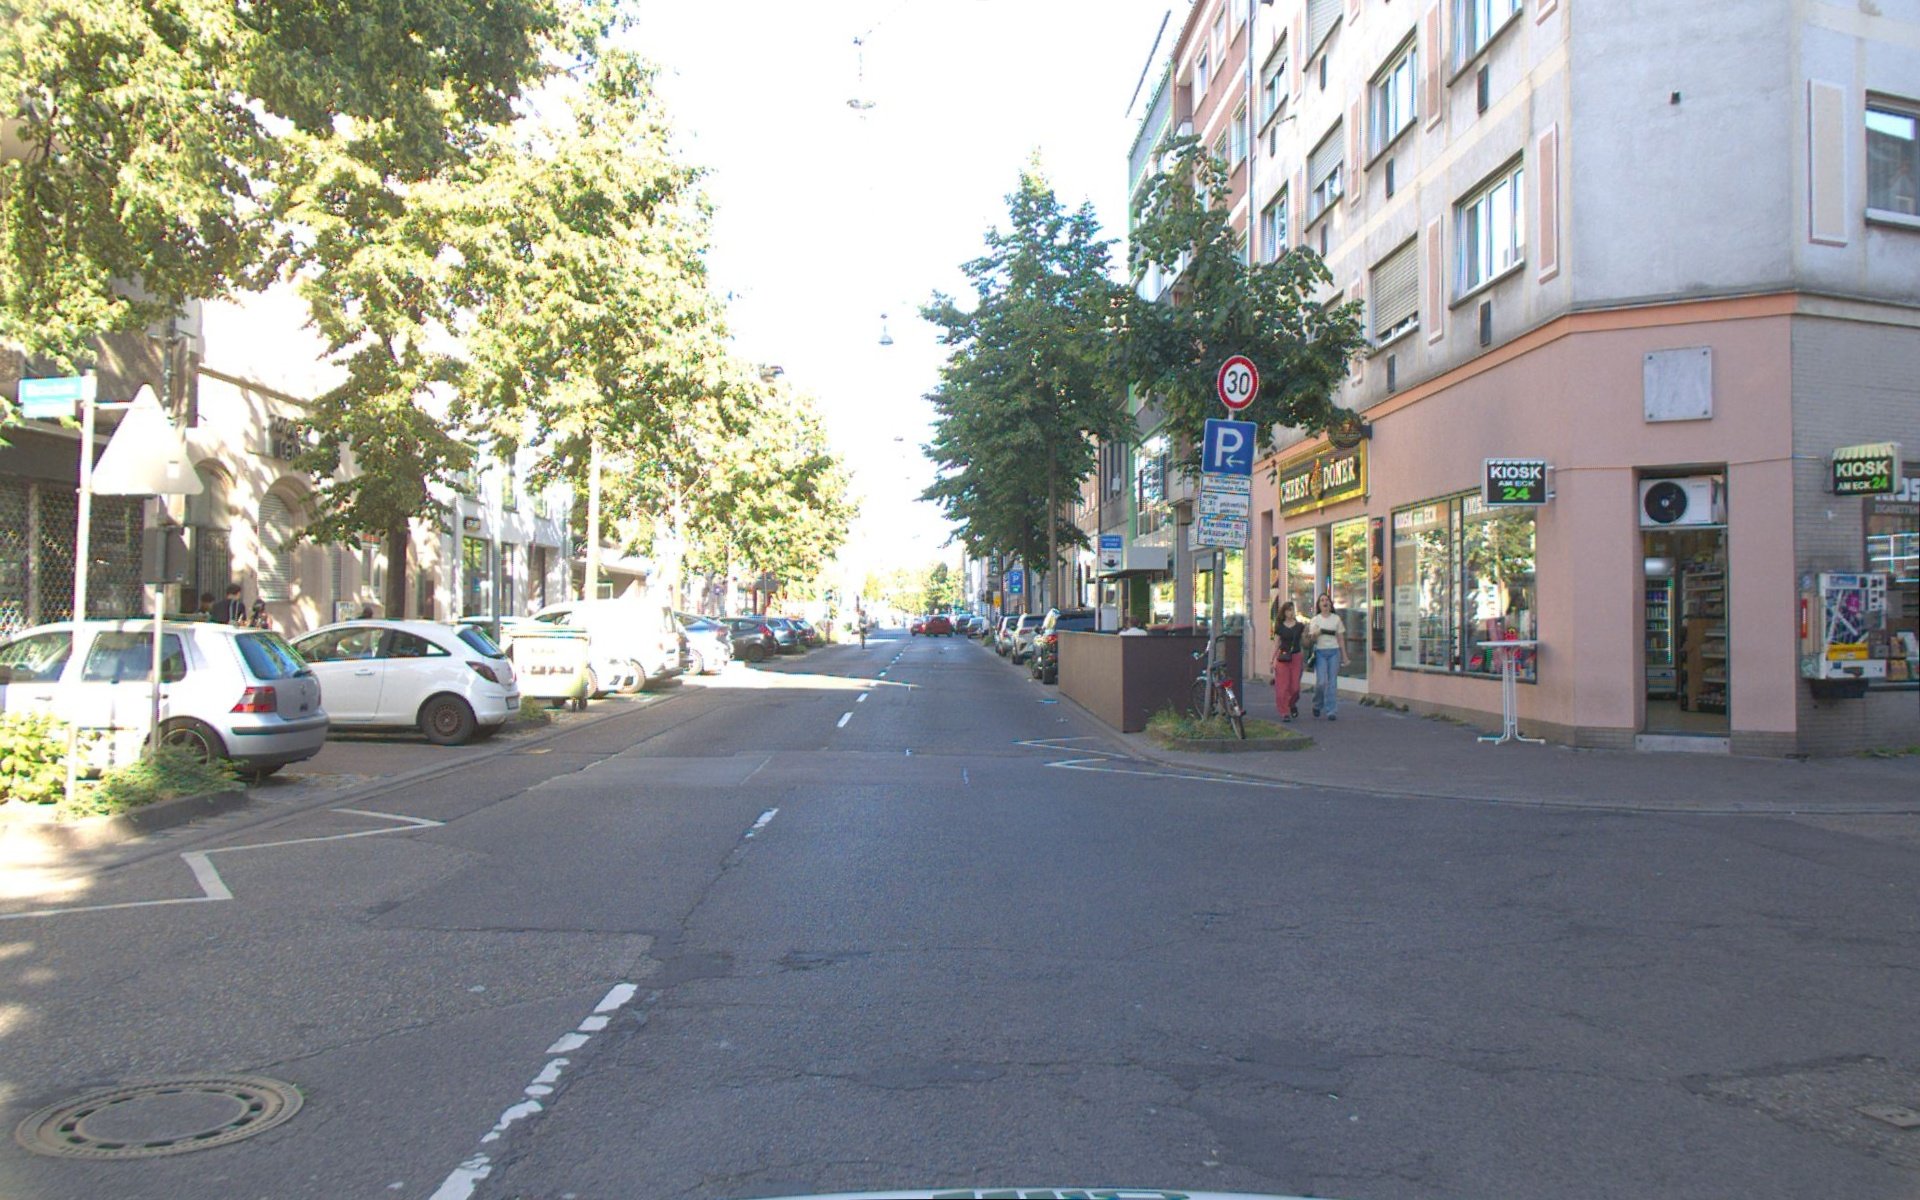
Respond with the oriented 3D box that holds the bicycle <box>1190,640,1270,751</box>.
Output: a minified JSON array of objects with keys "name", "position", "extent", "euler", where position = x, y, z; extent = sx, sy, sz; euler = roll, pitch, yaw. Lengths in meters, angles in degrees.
[{"name":"bicycle","position":[3.127,1.082,19.305],"extent":[0.497,1.184,2.144],"euler":[-1,-1,-2]}]

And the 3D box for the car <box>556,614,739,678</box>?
[{"name":"car","position":[-7.878,1.155,42.034],"extent":[4.277,1.598,1.946],"euler":[0,-1,-1]}]

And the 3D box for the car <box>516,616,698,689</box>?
[{"name":"car","position":[-7.945,1.174,37.482],"extent":[3.722,1.585,1.791],"euler":[0,-1,-1]}]

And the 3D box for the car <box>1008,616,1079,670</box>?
[{"name":"car","position":[2.557,1.322,51.817],"extent":[1.845,1.553,4.232],"euler":[-2,-1,-2]}]

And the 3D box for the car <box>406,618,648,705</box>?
[{"name":"car","position":[-7.851,1.108,30.278],"extent":[3.898,1.490,1.886],"euler":[1,-1,-1]}]

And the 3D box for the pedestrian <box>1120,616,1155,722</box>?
[{"name":"pedestrian","position":[2.643,1.024,24.620],"extent":[0.463,1.556,0.462],"euler":[0,-1,0]}]

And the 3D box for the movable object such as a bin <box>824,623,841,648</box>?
[{"name":"movable object such as a bin","position":[-7.733,2.169,100.373],"extent":[1.021,1.497,1.142],"euler":[-1,-1,-2]}]

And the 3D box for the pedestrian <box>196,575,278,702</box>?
[{"name":"pedestrian","position":[-10.678,0.573,24.450],"extent":[0.759,1.797,0.762],"euler":[4,-1,-3]}]

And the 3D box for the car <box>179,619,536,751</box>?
[{"name":"car","position":[-7.207,1.004,20.091],"extent":[3.703,1.490,1.709],"euler":[1,-1,-4]}]

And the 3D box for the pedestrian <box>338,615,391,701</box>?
[{"name":"pedestrian","position":[-10.799,1.042,29.989],"extent":[0.580,1.520,0.842],"euler":[2,-1,0]}]

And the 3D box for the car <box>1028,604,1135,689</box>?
[{"name":"car","position":[2.745,1.046,38.312],"extent":[1.953,1.719,4.515],"euler":[-3,-1,-2]}]

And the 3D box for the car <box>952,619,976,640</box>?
[{"name":"car","position":[0.352,2.471,139.414],"extent":[1.933,1.756,4.823],"euler":[1,-1,-1]}]

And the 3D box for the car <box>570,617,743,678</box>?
[{"name":"car","position":[-8.098,1.257,44.458],"extent":[4.277,1.598,1.980],"euler":[0,-1,-1]}]

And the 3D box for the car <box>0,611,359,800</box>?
[{"name":"car","position":[-7.558,0.880,14.450],"extent":[3.917,1.490,1.748],"euler":[2,-3,-1]}]

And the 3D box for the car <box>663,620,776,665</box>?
[{"name":"car","position":[-8.091,1.429,55.718],"extent":[3.709,1.484,1.777],"euler":[0,-1,-9]}]

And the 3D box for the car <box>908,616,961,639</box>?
[{"name":"car","position":[-1.906,2.060,124.921],"extent":[3.718,1.562,1.643],"euler":[-1,-1,-36]}]

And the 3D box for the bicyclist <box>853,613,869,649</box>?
[{"name":"bicyclist","position":[-4.738,1.480,79.338],"extent":[0.710,1.730,1.282],"euler":[0,-1,-1]}]

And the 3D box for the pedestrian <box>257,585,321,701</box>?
[{"name":"pedestrian","position":[-9.925,0.634,24.487],"extent":[0.554,1.655,0.726],"euler":[4,-1,-3]}]

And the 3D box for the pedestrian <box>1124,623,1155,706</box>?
[{"name":"pedestrian","position":[3.039,1.087,28.044],"extent":[0.463,1.386,0.594],"euler":[0,-1,0]}]

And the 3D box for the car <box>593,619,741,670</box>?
[{"name":"car","position":[-8.647,1.310,49.117],"extent":[4.162,1.484,1.978],"euler":[0,-1,-5]}]

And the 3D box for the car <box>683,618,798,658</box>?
[{"name":"car","position":[-8.812,1.542,66.716],"extent":[4.403,1.484,1.789],"euler":[1,-1,-3]}]

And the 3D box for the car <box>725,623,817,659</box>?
[{"name":"car","position":[-8.363,1.801,73.289],"extent":[3.838,1.511,1.770],"euler":[0,-1,0]}]

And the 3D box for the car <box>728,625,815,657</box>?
[{"name":"car","position":[-8.610,1.872,75.853],"extent":[3.762,1.454,1.789],"euler":[0,-1,0]}]

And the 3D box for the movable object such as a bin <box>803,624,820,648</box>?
[{"name":"movable object such as a bin","position":[-8.997,2.183,100.425],"extent":[0.944,1.497,1.142],"euler":[0,-1,-2]}]

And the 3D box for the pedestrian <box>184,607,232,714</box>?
[{"name":"pedestrian","position":[-12.071,0.963,26.555],"extent":[0.424,1.701,0.639],"euler":[0,-1,2]}]

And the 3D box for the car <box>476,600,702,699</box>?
[{"name":"car","position":[-7.345,0.975,33.082],"extent":[4.022,1.868,2.038],"euler":[1,-1,-1]}]

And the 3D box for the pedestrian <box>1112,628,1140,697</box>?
[{"name":"pedestrian","position":[3.320,1.246,33.016],"extent":[0.463,1.354,0.483],"euler":[0,-1,18]}]

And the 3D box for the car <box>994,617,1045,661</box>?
[{"name":"car","position":[2.279,1.490,64.205],"extent":[1.581,1.555,4.233],"euler":[-3,-1,-2]}]

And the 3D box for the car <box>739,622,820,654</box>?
[{"name":"car","position":[-8.539,1.785,78.387],"extent":[3.672,1.494,1.739],"euler":[0,-1,-2]}]

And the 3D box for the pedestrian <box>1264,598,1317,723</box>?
[{"name":"pedestrian","position":[4.547,0.818,22.791],"extent":[0.503,1.674,0.748],"euler":[-2,-1,-2]}]

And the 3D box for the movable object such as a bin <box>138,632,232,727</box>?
[{"name":"movable object such as a bin","position":[-11.921,1.201,25.478],"extent":[0.804,1.422,1.227],"euler":[0,-1,2]}]

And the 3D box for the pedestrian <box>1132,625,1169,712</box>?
[{"name":"pedestrian","position":[3.117,1.108,27.087],"extent":[0.541,1.403,0.594],"euler":[0,-1,0]}]

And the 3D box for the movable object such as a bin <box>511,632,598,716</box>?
[{"name":"movable object such as a bin","position":[-6.523,1.184,26.672],"extent":[1.212,1.325,0.869],"euler":[0,-1,-2]}]

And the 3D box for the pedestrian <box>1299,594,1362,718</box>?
[{"name":"pedestrian","position":[5.125,0.767,22.893],"extent":[0.628,1.674,0.748],"euler":[-2,-1,-2]}]

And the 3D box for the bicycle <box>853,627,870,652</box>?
[{"name":"bicycle","position":[-4.742,1.907,79.587],"extent":[0.710,1.189,2.196],"euler":[0,-1,-1]}]

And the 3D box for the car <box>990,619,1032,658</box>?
[{"name":"car","position":[2.141,1.631,70.079],"extent":[1.581,1.555,3.059],"euler":[-2,-1,-2]}]

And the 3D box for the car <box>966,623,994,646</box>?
[{"name":"car","position":[1.436,2.499,120.052],"extent":[1.879,1.504,4.963],"euler":[-4,-1,-1]}]

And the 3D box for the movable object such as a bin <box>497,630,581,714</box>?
[{"name":"movable object such as a bin","position":[-7.029,1.187,27.651],"extent":[1.168,1.369,0.931],"euler":[0,-1,-2]}]

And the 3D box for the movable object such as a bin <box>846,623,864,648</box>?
[{"name":"movable object such as a bin","position":[-6.401,2.181,100.593],"extent":[1.021,1.497,1.452],"euler":[-1,-1,-2]}]
